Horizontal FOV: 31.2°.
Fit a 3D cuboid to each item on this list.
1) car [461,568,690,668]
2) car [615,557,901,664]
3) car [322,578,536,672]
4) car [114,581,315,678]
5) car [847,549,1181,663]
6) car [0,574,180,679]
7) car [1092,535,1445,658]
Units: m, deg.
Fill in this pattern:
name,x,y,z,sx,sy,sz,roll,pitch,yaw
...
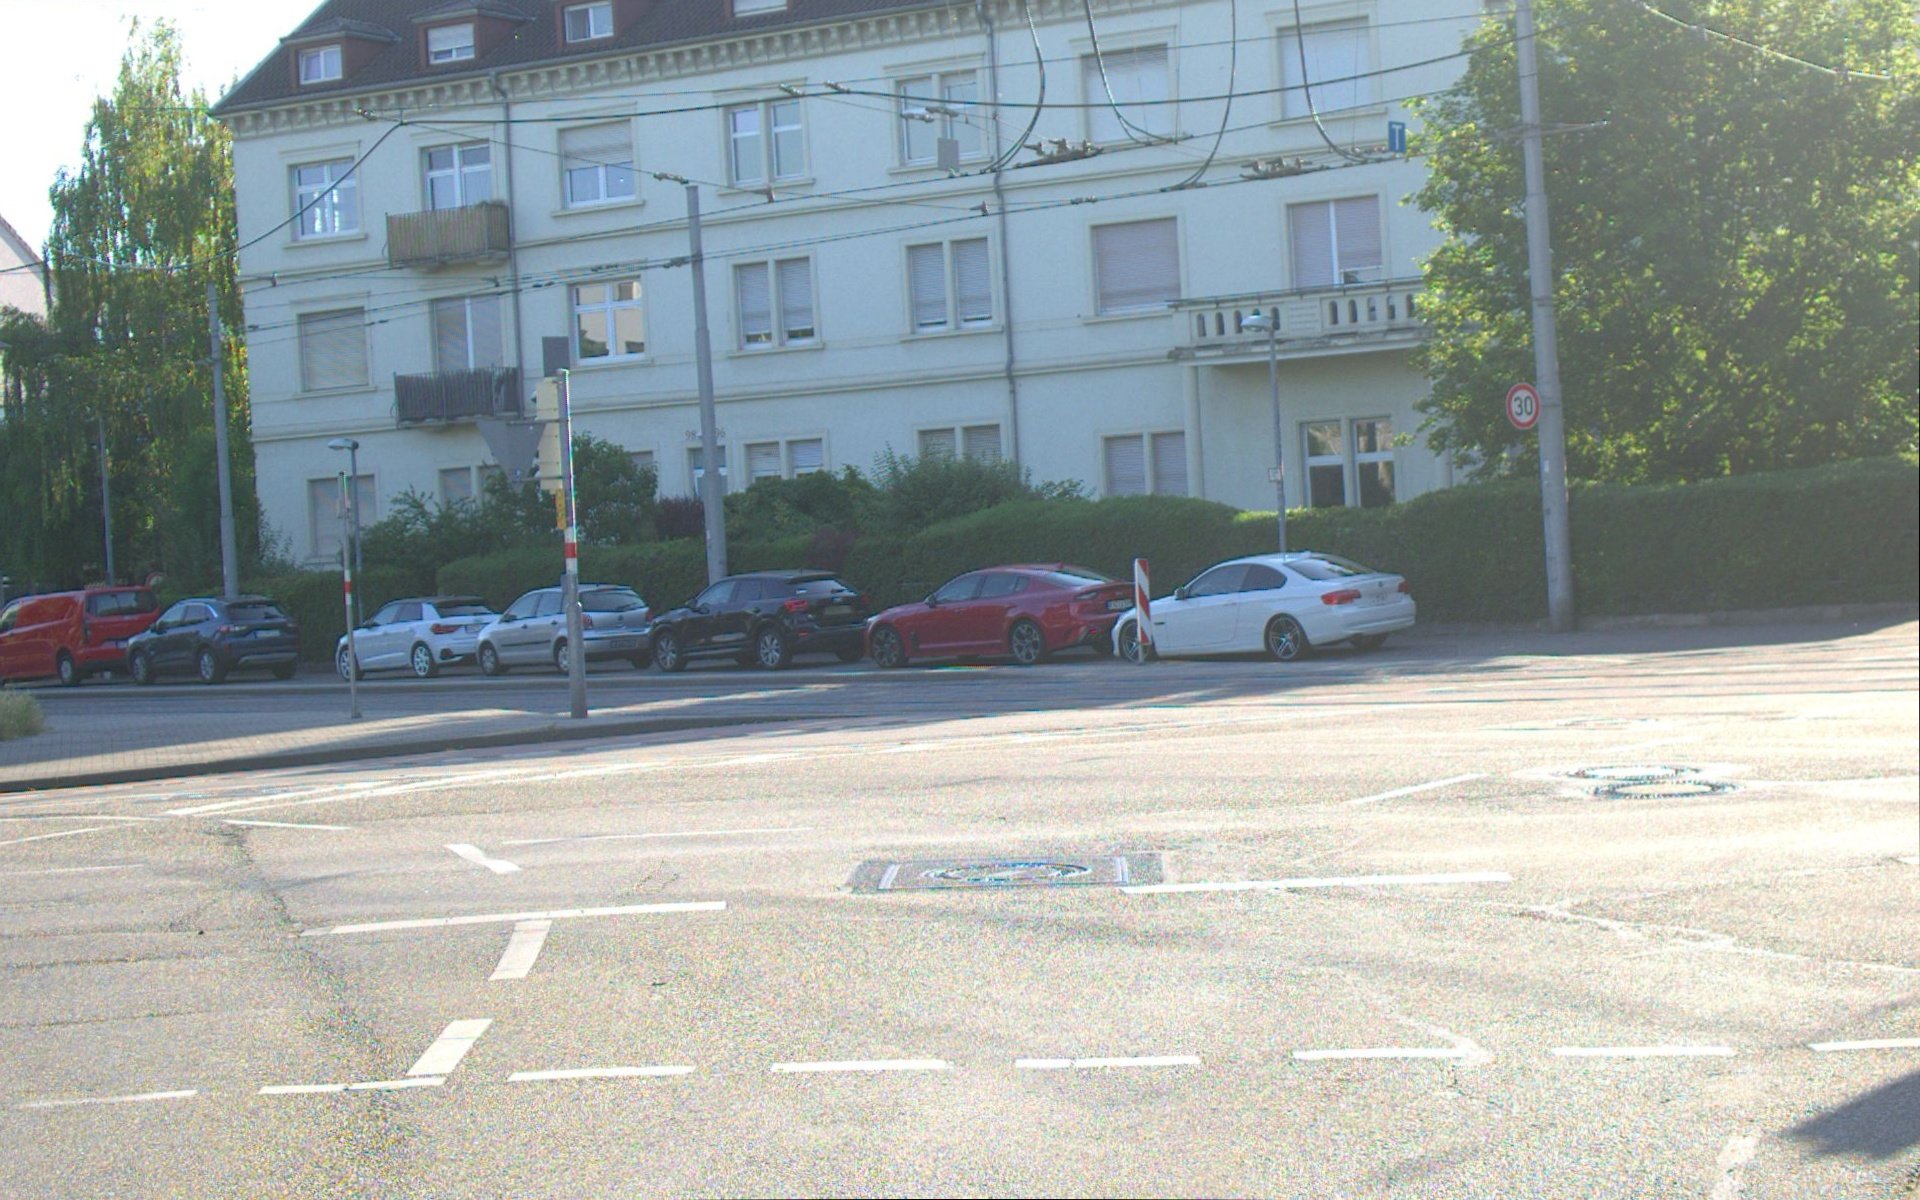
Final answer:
name,x,y,z,sx,sy,sz,roll,pitch,yaw
car,-6.497,0.322,57.886,1.982,1.442,3.717,-7,3,-41
car,-3.262,0.188,54.640,1.982,1.442,4.703,-7,3,-41
car,-9.511,0.465,61.381,1.840,1.442,3.957,-7,3,-41
car,-14.613,0.597,67.218,1.840,1.662,4.368,-7,3,-41
car,0.749,0.101,50.130,4.702,1.371,1.982,-2,3,44
car,-18.649,0.579,72.259,2.051,1.955,5.148,-7,3,-41
car,4.088,-0.026,46.133,1.926,1.371,4.494,-7,3,-42
